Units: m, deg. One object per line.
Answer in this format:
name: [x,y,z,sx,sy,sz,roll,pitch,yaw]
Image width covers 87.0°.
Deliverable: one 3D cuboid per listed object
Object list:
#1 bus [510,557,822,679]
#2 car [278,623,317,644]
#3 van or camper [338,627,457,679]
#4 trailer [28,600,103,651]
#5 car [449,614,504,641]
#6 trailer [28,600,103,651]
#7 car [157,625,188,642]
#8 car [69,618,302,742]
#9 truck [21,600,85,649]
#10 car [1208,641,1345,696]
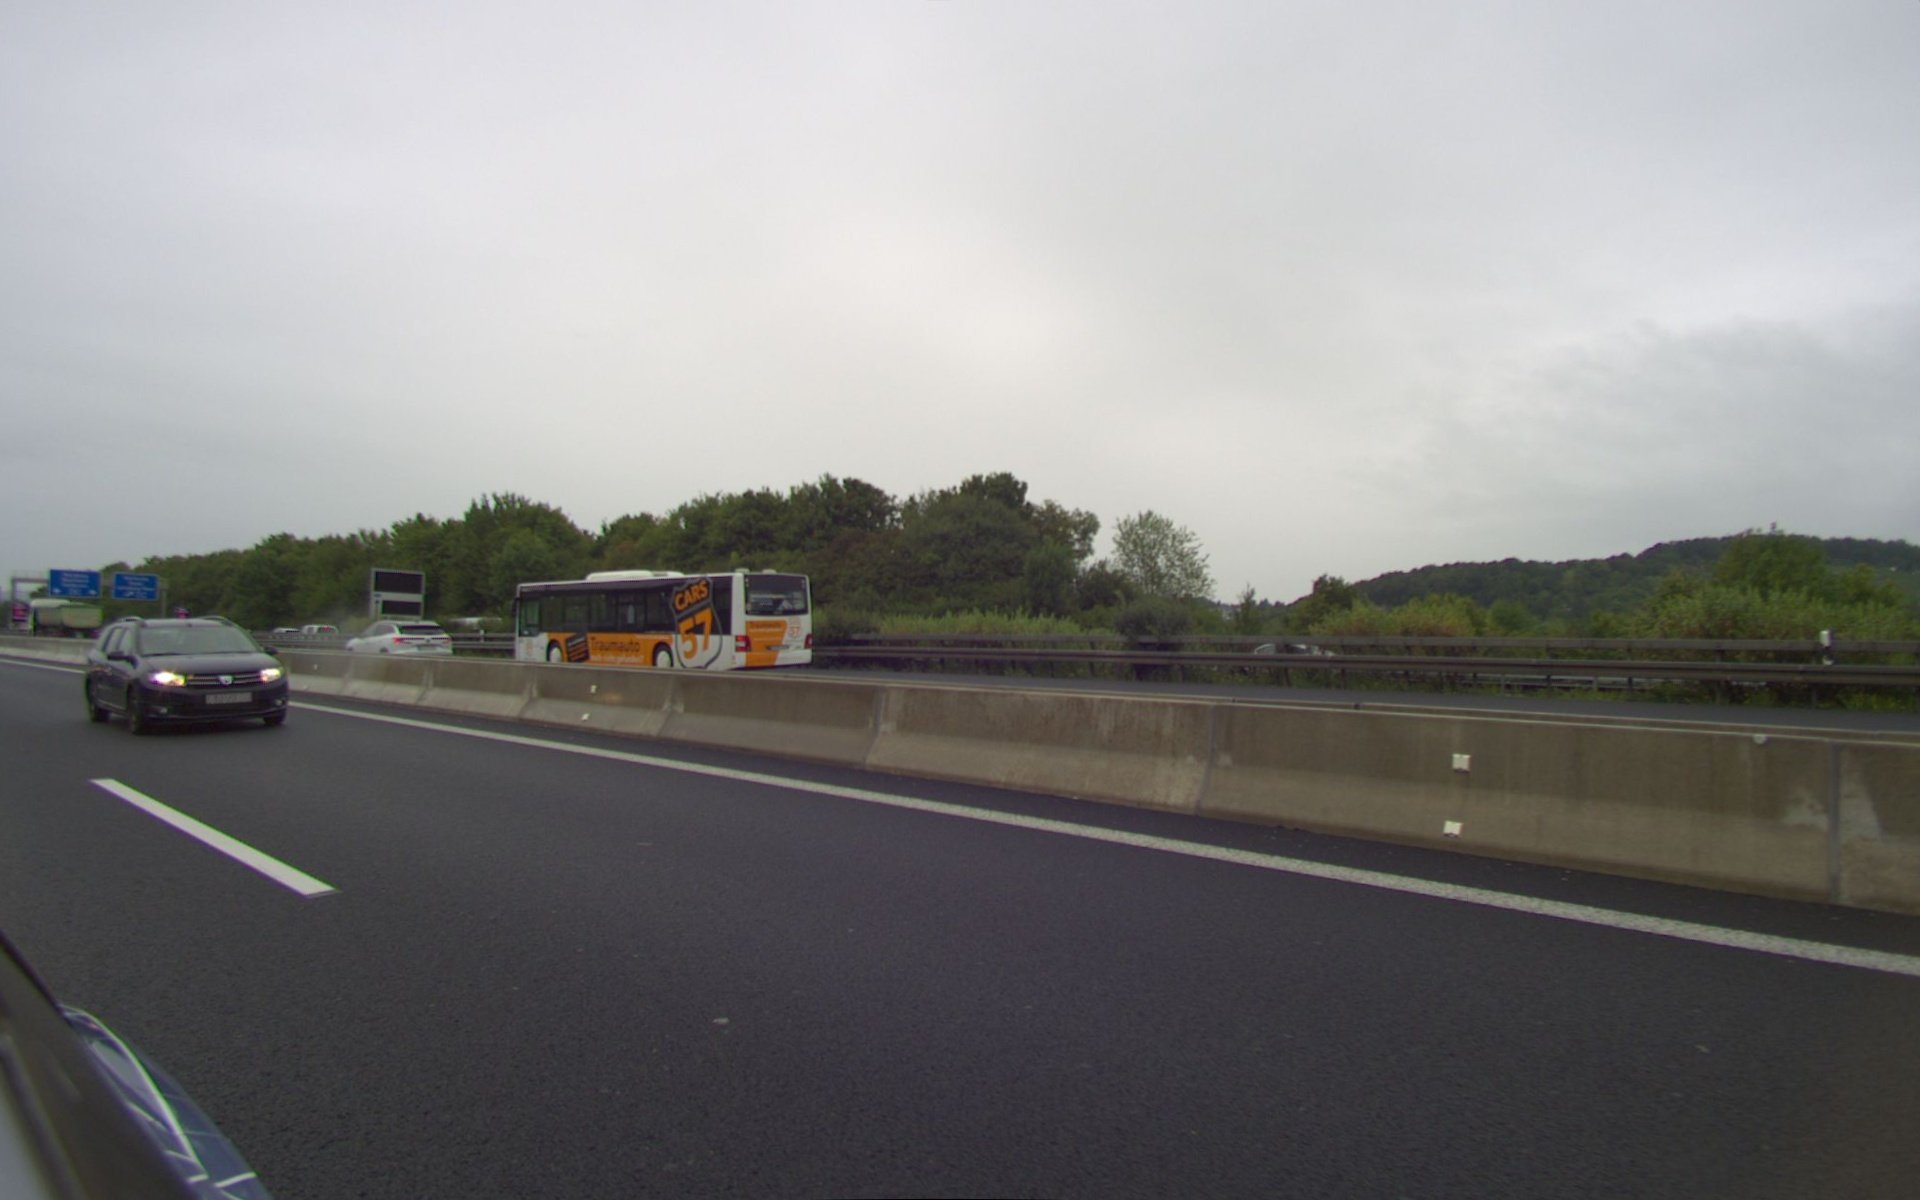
bus: [-9.012,0.533,29.545,11.890,2.981,2.670,-1,-2,41]
car: [-59.728,3.032,91.213,4.409,1.800,1.782,-1,-3,41]
van or camper: [-17.254,1.559,30.967,4.583,1.458,1.730,-1,-2,41]
trailer: [-69.742,1.938,78.840,8.918,3.777,2.874,-1,-2,39]
car: [-32.714,1.859,68.430,4.409,1.800,1.782,-1,-3,41]
trailer: [-69.742,1.938,78.840,8.918,3.777,2.874,-1,-2,39]
car: [-87.147,3.684,111.972,4.409,1.800,1.782,-1,-3,41]
car: [-11.169,1.018,14.472,4.564,1.501,1.704,-1,-2,40]
truck: [-73.104,1.982,81.565,5.938,3.777,2.858,-1,-2,39]
car: [11.395,2.417,36.610,4.409,1.800,1.782,-1,-3,41]
